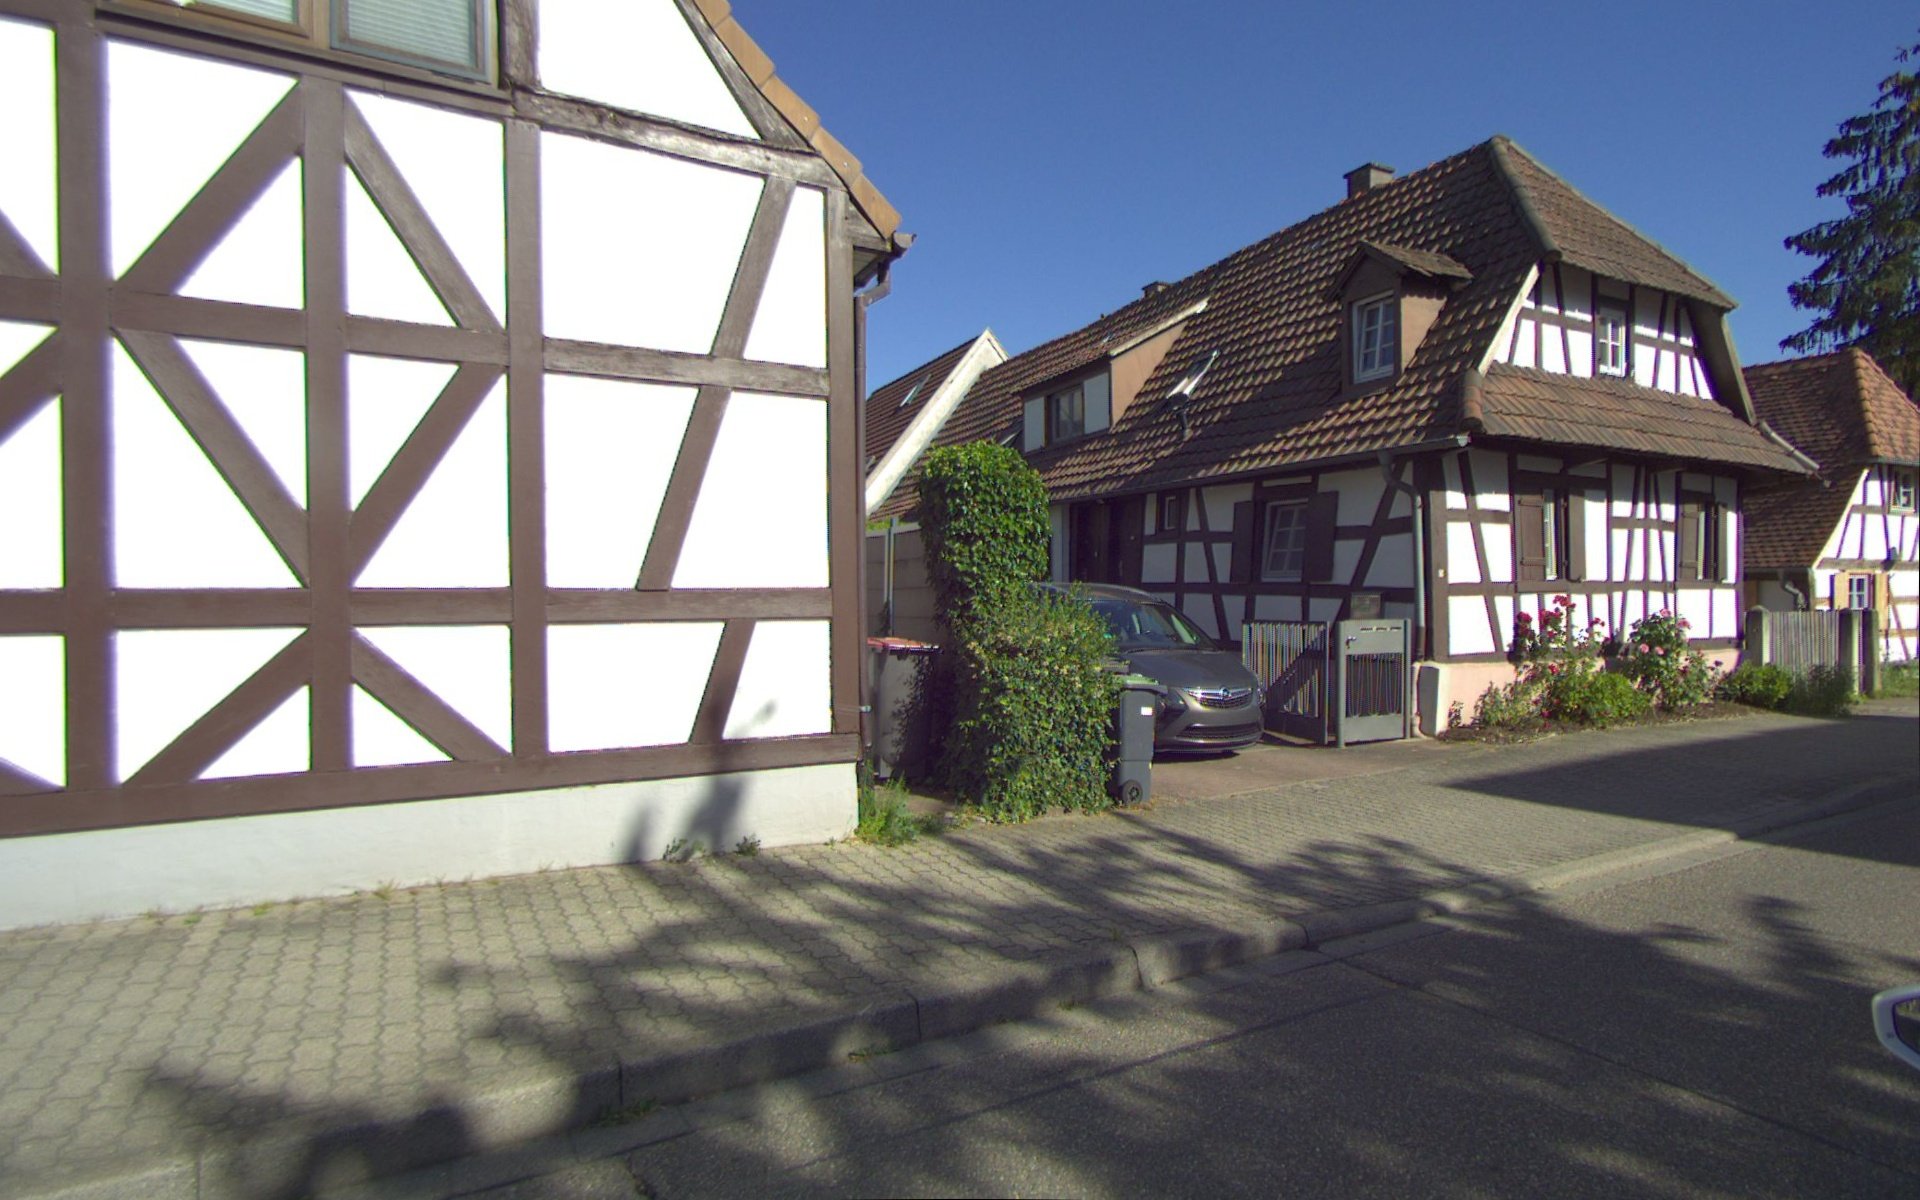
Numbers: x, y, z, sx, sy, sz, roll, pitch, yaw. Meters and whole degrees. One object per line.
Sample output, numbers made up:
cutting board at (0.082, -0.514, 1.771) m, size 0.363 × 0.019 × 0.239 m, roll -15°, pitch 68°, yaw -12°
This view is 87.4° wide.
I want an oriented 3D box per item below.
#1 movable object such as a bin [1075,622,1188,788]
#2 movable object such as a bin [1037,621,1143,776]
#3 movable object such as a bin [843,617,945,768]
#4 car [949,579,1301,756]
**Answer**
movable object such as a bin at (1.272, 0.753, 7.452) m, size 0.660 × 1.155 × 0.474 m, roll 1°, pitch 0°, yaw -30°
movable object such as a bin at (1.025, 0.751, 7.919) m, size 0.660 × 1.155 × 0.474 m, roll 1°, pitch 0°, yaw -30°
movable object such as a bin at (-0.488, 0.662, 7.390) m, size 0.638 × 1.054 × 0.398 m, roll 1°, pitch 0°, yaw -23°
car at (1.644, 0.677, 11.417) m, size 1.797 × 1.613 × 4.085 m, roll 2°, pitch -2°, yaw -29°
